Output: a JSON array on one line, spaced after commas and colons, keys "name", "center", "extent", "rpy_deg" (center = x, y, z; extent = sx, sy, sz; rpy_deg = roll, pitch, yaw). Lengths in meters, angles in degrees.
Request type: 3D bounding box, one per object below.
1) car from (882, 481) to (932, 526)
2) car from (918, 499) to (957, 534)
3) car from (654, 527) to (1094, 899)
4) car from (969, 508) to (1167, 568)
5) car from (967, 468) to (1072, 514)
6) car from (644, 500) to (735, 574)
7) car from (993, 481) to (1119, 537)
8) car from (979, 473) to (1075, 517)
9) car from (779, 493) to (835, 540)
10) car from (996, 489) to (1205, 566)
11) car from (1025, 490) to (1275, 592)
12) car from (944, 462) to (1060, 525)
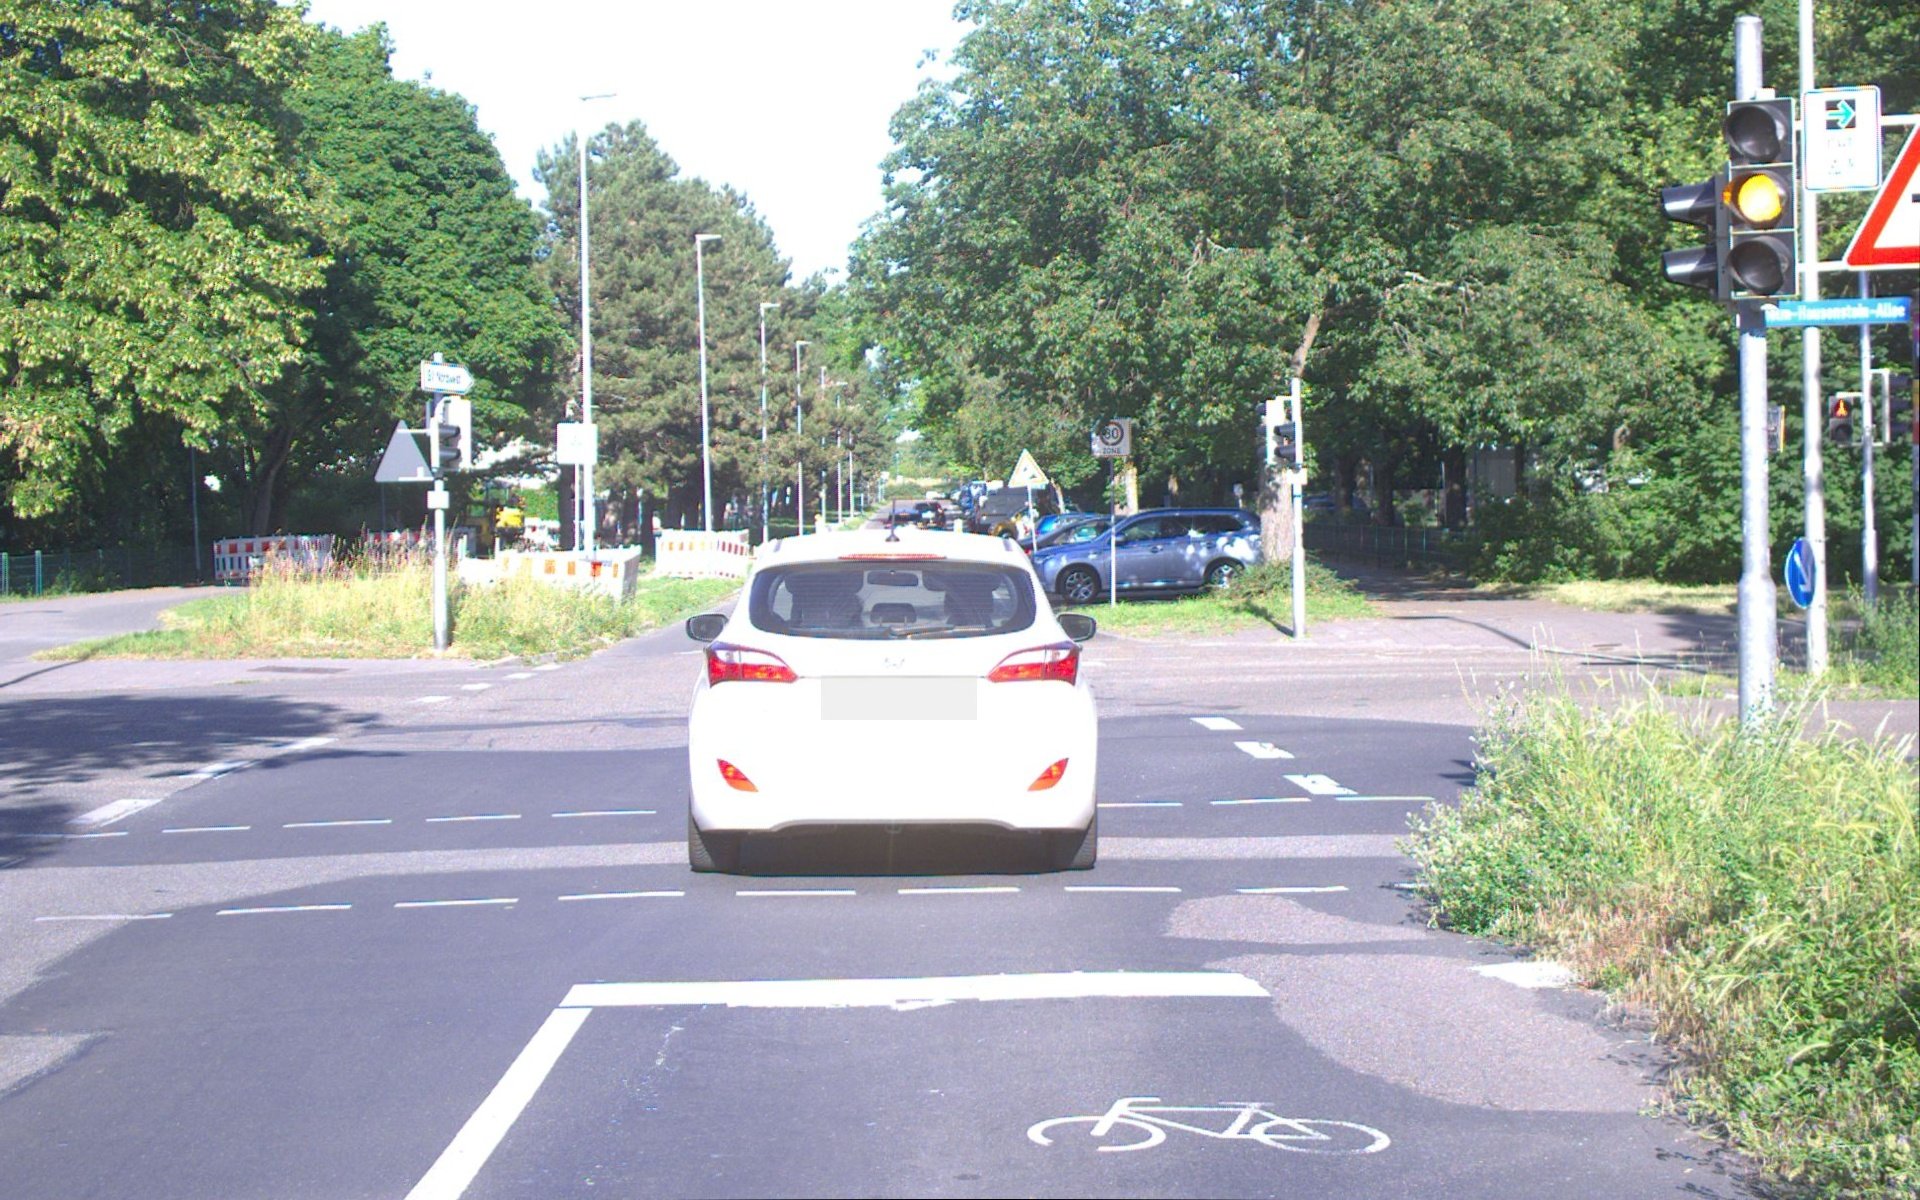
[{"name": "car", "center": [-2.192, -3.995, 142.639], "extent": [1.993, 1.809, 4.000], "rpy_deg": [1, 2, 0]}, {"name": "car", "center": [-1.174, -4.412, 181.610], "extent": [1.993, 1.809, 4.000], "rpy_deg": [0, 1, 0]}, {"name": "car", "center": [-0.361, 0.420, 16.027], "extent": [1.789, 1.458, 3.964], "rpy_deg": [0, 2, 0]}, {"name": "car", "center": [3.080, -1.782, 98.825], "extent": [5.614, 1.678, 1.948], "rpy_deg": [0, 1, 0]}, {"name": "car", "center": [2.459, -4.513, 142.605], "extent": [4.301, 1.901, 1.863], "rpy_deg": [0, 1, 0]}, {"name": "car", "center": [-6.859, -1.624, 87.477], "extent": [1.993, 1.809, 4.001], "rpy_deg": [0, 2, 0]}, {"name": "car", "center": [2.922, -2.799, 105.273], "extent": [3.819, 1.678, 1.863], "rpy_deg": [0, 1, 0]}, {"name": "car", "center": [2.708, -4.267, 139.460], "extent": [3.819, 1.761, 1.863], "rpy_deg": [0, 1, 0]}, {"name": "car", "center": [-6.026, -3.304, 135.831], "extent": [1.993, 1.809, 4.000], "rpy_deg": [-1, 2, 0]}, {"name": "car", "center": [3.080, -1.600, 75.414], "extent": [4.499, 1.624, 1.855], "rpy_deg": [-1, 2, 2]}, {"name": "car", "center": [3.474, -1.099, 63.224], "extent": [4.499, 1.776, 1.855], "rpy_deg": [-1, 2, 2]}, {"name": "car", "center": [1.395, -3.564, 115.299], "extent": [3.819, 2.091, 1.863], "rpy_deg": [0, 1, 0]}]
